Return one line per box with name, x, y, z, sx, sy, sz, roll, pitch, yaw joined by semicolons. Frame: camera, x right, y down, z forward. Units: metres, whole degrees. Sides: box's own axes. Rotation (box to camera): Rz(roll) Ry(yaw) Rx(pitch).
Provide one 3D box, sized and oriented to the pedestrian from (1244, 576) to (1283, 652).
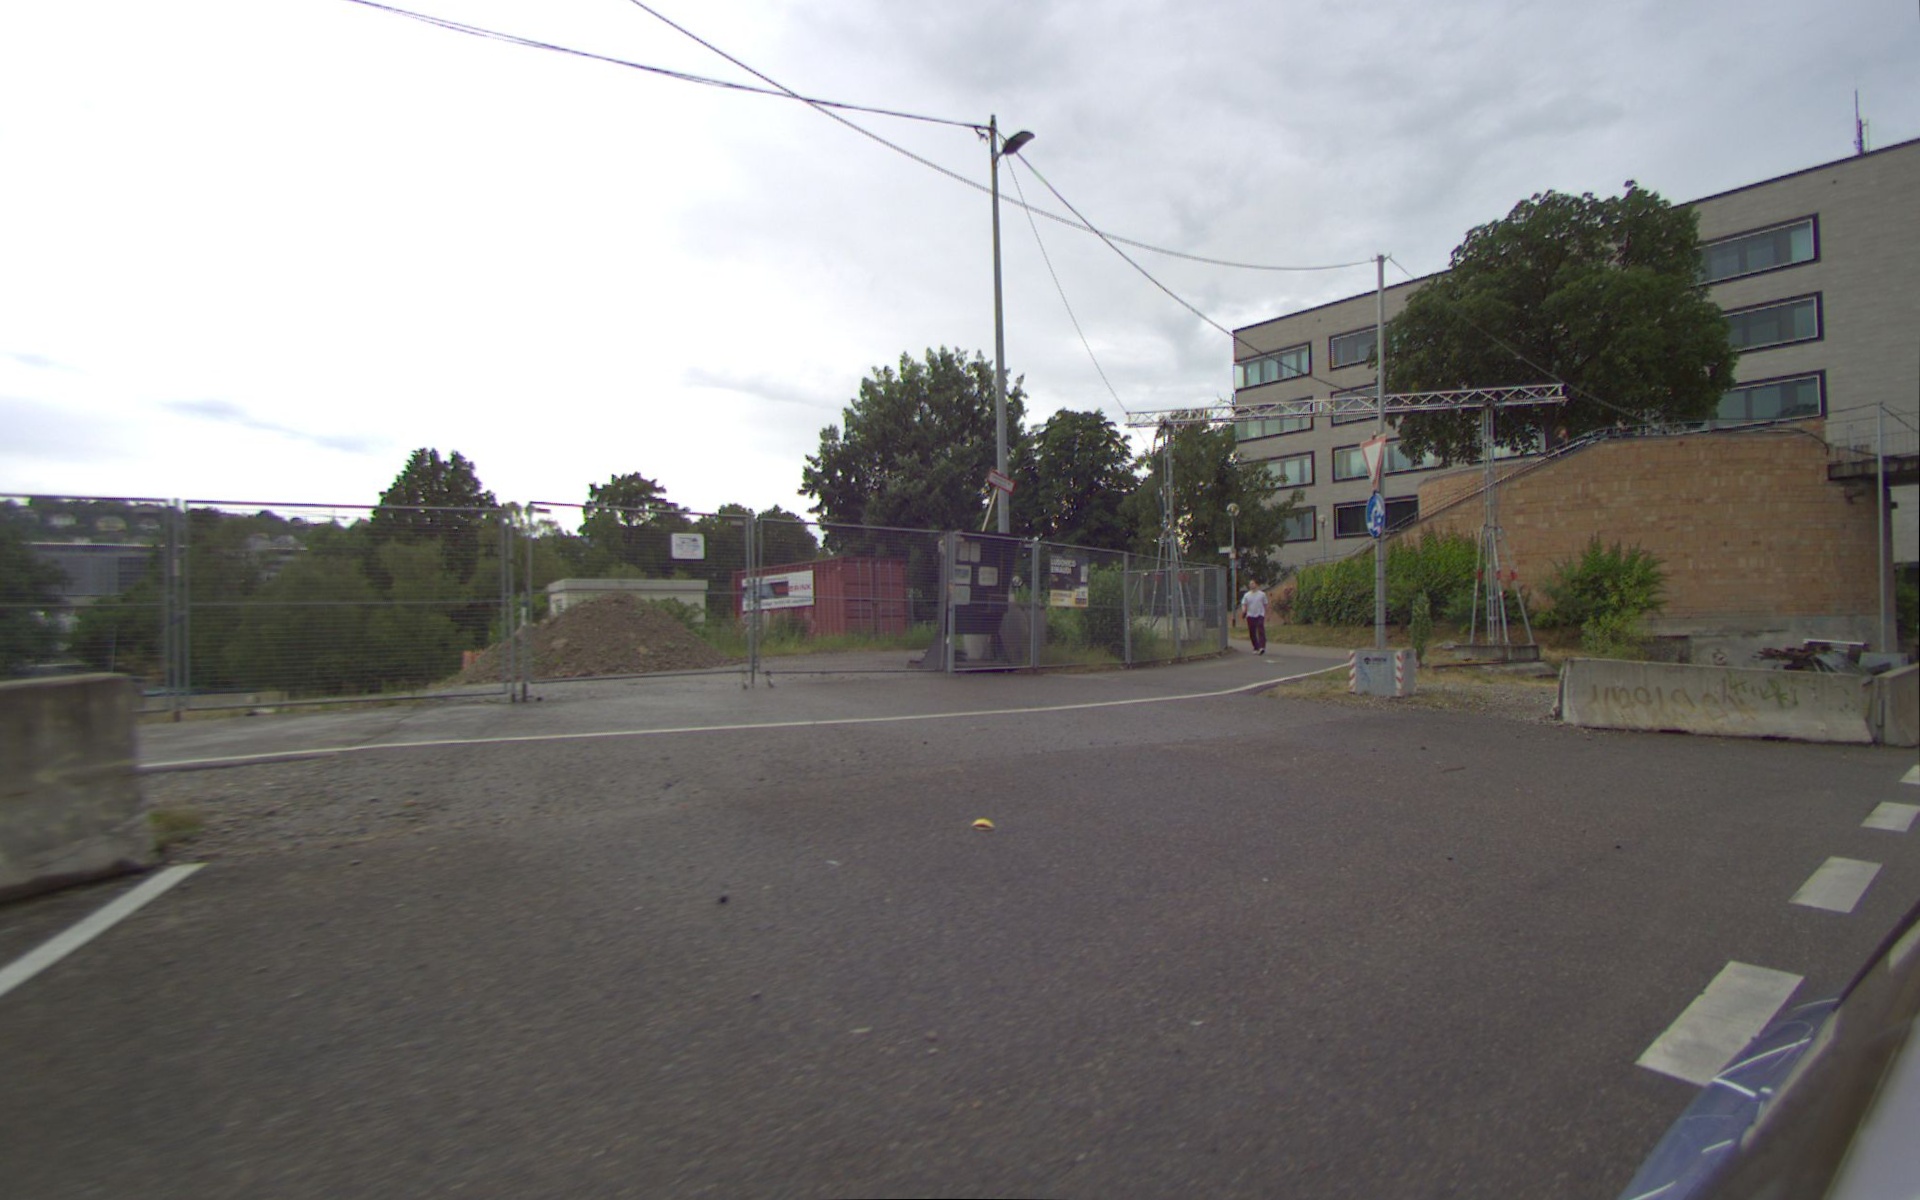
pedestrian;7.425;0.340;24.749;0.687;1.801;0.806;-1;-1;33
